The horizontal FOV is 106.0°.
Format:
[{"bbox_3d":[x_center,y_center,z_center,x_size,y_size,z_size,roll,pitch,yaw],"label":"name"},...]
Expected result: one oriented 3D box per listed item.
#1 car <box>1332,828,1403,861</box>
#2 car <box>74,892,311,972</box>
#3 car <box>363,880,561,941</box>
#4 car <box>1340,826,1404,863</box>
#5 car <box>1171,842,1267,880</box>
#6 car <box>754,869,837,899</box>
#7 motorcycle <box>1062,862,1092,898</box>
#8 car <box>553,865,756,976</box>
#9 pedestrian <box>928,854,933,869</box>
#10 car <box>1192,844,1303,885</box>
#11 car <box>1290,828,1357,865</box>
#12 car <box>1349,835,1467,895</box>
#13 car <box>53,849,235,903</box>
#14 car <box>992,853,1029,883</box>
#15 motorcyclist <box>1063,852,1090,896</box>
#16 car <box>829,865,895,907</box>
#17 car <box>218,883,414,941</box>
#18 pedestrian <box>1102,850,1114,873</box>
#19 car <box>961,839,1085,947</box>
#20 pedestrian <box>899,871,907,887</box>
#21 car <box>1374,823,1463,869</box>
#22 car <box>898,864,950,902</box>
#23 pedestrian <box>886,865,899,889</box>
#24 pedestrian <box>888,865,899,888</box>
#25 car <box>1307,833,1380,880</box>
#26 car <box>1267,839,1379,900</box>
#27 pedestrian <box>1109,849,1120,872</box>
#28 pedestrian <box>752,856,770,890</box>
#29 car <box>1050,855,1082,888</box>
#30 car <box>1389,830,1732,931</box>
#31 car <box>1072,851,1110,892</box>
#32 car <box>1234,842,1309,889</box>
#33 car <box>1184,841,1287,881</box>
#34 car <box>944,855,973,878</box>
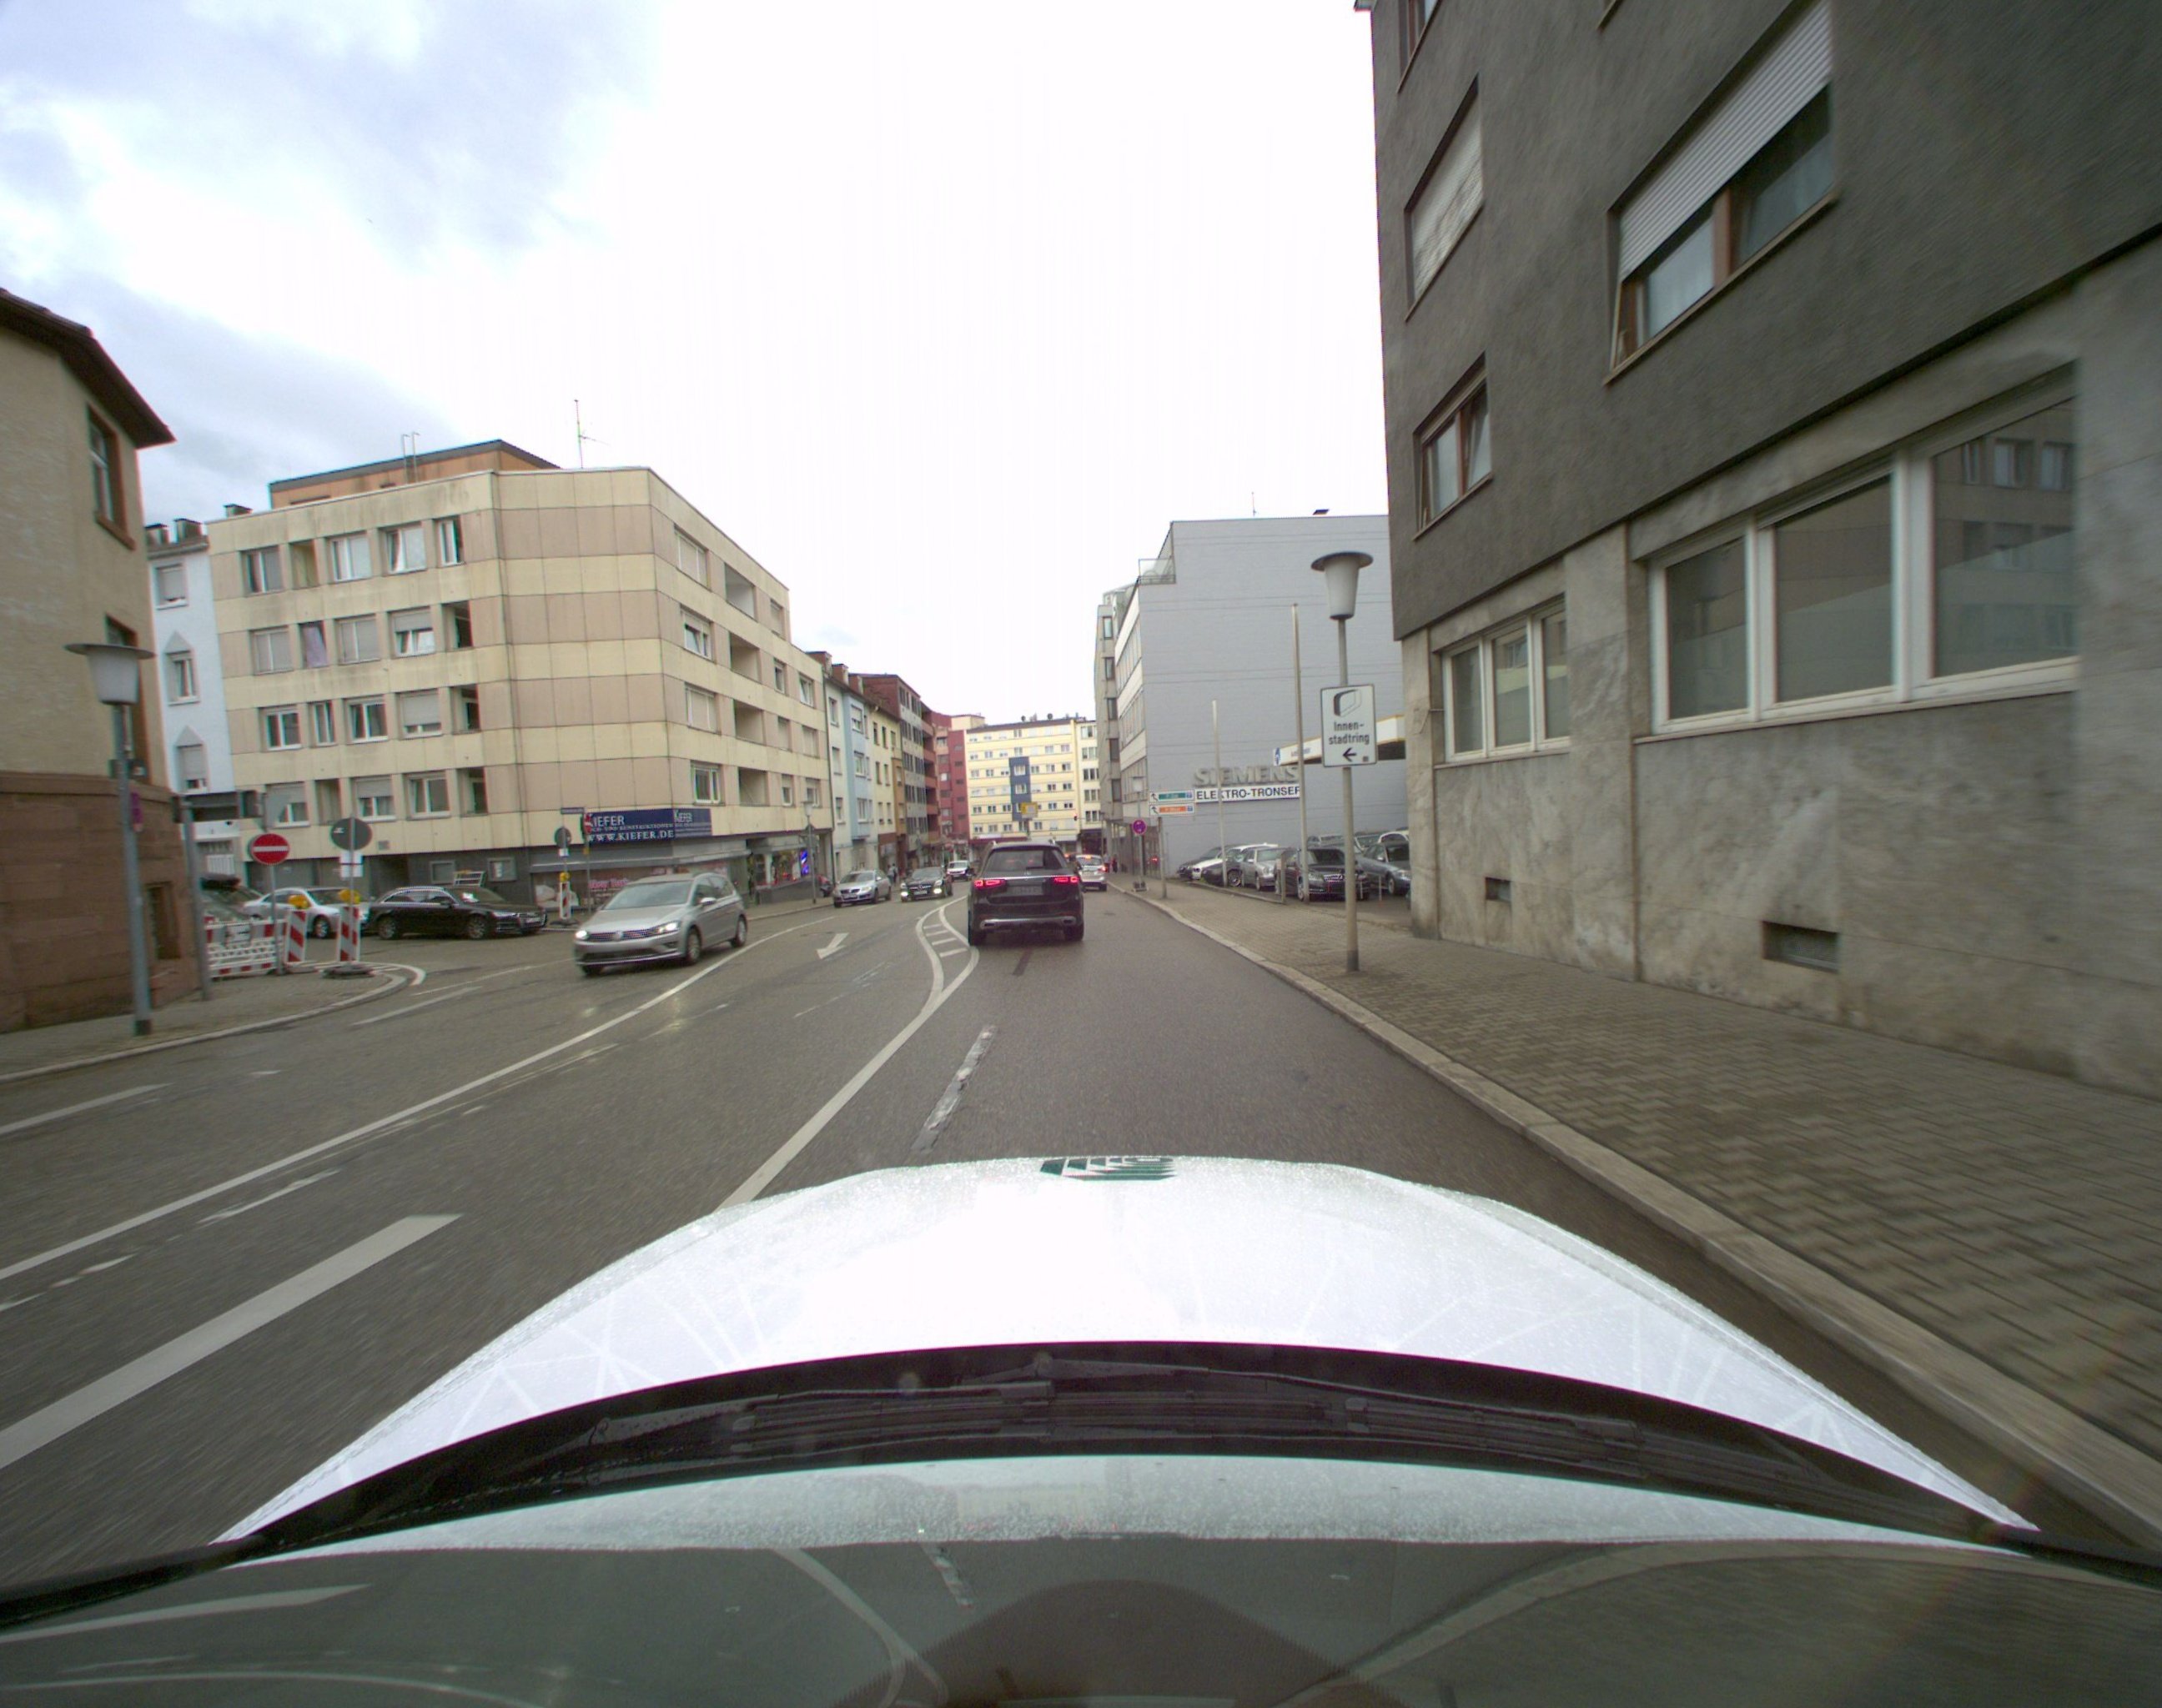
[{"bbox_3d":[11.813,-0.371,33.764,1.448,1.202,3.384,-1,-1,-6],"label":"car"},{"bbox_3d":[-19.981,1.736,18.385,3.960,1.511,1.735,-1,3,12],"label":"car"},{"bbox_3d":[-17.201,1.556,22.739,4.307,1.512,1.903,-2,0,9],"label":"car"},{"bbox_3d":[13.662,-0.423,38.399,1.448,1.597,3.384,-1,-1,-6],"label":"car"},{"bbox_3d":[6.355,0.323,37.673,4.001,1.597,1.787,-1,-2,-21],"label":"car"},{"bbox_3d":[-15.894,1.641,45.554,3.979,1.499,1.797,-2,-1,-4],"label":"car"},{"bbox_3d":[-0.160,0.914,29.785,0.865,1.186,2.558,-3,0,-4],"label":"motorcycle"},{"bbox_3d":[-7.525,1.087,14.873,1.712,1.586,4.135,-5,-1,-5],"label":"car"},{"bbox_3d":[-15.449,0.780,83.649,0.317,1.474,0.339,-2,4,3],"label":"pedestrian"},{"bbox_3d":[6.653,0.408,32.569,4.001,1.495,1.721,-1,-2,-21],"label":"car"},{"bbox_3d":[11.414,-0.320,38.645,1.642,1.597,3.858,-1,-1,-6],"label":"car"},{"bbox_3d":[9.158,0.268,23.205,1.789,1.477,4.490,-2,0,4],"label":"car"},{"bbox_3d":[-28.912,0.676,25.164,4.302,1.512,1.905,-2,0,14],"label":"car"},{"bbox_3d":[-3.830,0.736,44.989,1.826,1.461,4.373,-4,0,-4],"label":"car"},{"bbox_3d":[-0.166,0.730,29.811,0.865,1.560,0.762,-3,-1,-5],"label":"motorcyclist"},{"bbox_3d":[-9.414,1.335,35.347,1.741,1.539,4.637,-5,-1,-3],"label":"car"},{"bbox_3d":[-22.354,1.684,23.871,4.307,1.512,1.903,-2,0,9],"label":"car"},{"bbox_3d":[1.964,0.571,59.860,0.767,1.611,0.703,-3,2,-5],"label":"pedestrian"},{"bbox_3d":[-1.088,0.647,15.780,2.016,1.739,4.741,-1,0,-4],"label":"car"},{"bbox_3d":[-13.250,1.853,60.722,0.425,1.162,0.586,-3,4,-4],"label":"pedestrian"},{"bbox_3d":[12.193,-0.237,29.659,1.549,1.512,3.514,-1,-1,-5],"label":"car"},{"bbox_3d":[-6.430,1.158,33.702,1.713,1.317,4.134,-3,0,-7],"label":"car"},{"bbox_3d":[-13.862,1.670,59.796,0.738,1.652,0.605,-3,4,-5],"label":"pedestrian"},{"bbox_3d":[-13.962,1.648,60.602,0.670,1.652,0.605,-3,4,-5],"label":"pedestrian"},{"bbox_3d":[9.221,0.113,28.893,1.522,1.512,3.392,-2,-1,1],"label":"car"},{"bbox_3d":[6.591,0.383,22.739,1.791,1.477,4.485,-1,0,0],"label":"car"},{"bbox_3d":[2.482,0.469,60.632,0.716,1.611,0.610,-3,2,-5],"label":"pedestrian"},{"bbox_3d":[-16.760,1.004,42.652,0.598,1.729,0.571,-3,4,-5],"label":"pedestrian"},{"bbox_3d":[-0.814,0.878,42.615,1.519,1.548,3.103,-2,1,-4],"label":"car"},{"bbox_3d":[7.557,0.393,13.204,4.472,1.512,1.889,0,0,2],"label":"car"},{"bbox_3d":[0.400,0.737,35.886,1.413,1.651,3.103,-2,1,-4],"label":"car"},{"bbox_3d":[6.558,0.382,28.432,1.561,1.477,4.067,-1,0,-1],"label":"car"},{"bbox_3d":[6.651,0.310,35.102,4.001,1.597,1.787,-1,-2,-21],"label":"car"},{"bbox_3d":[-10.387,1.031,69.320,1.865,1.753,4.395,-5,0,-3],"label":"car"}]
